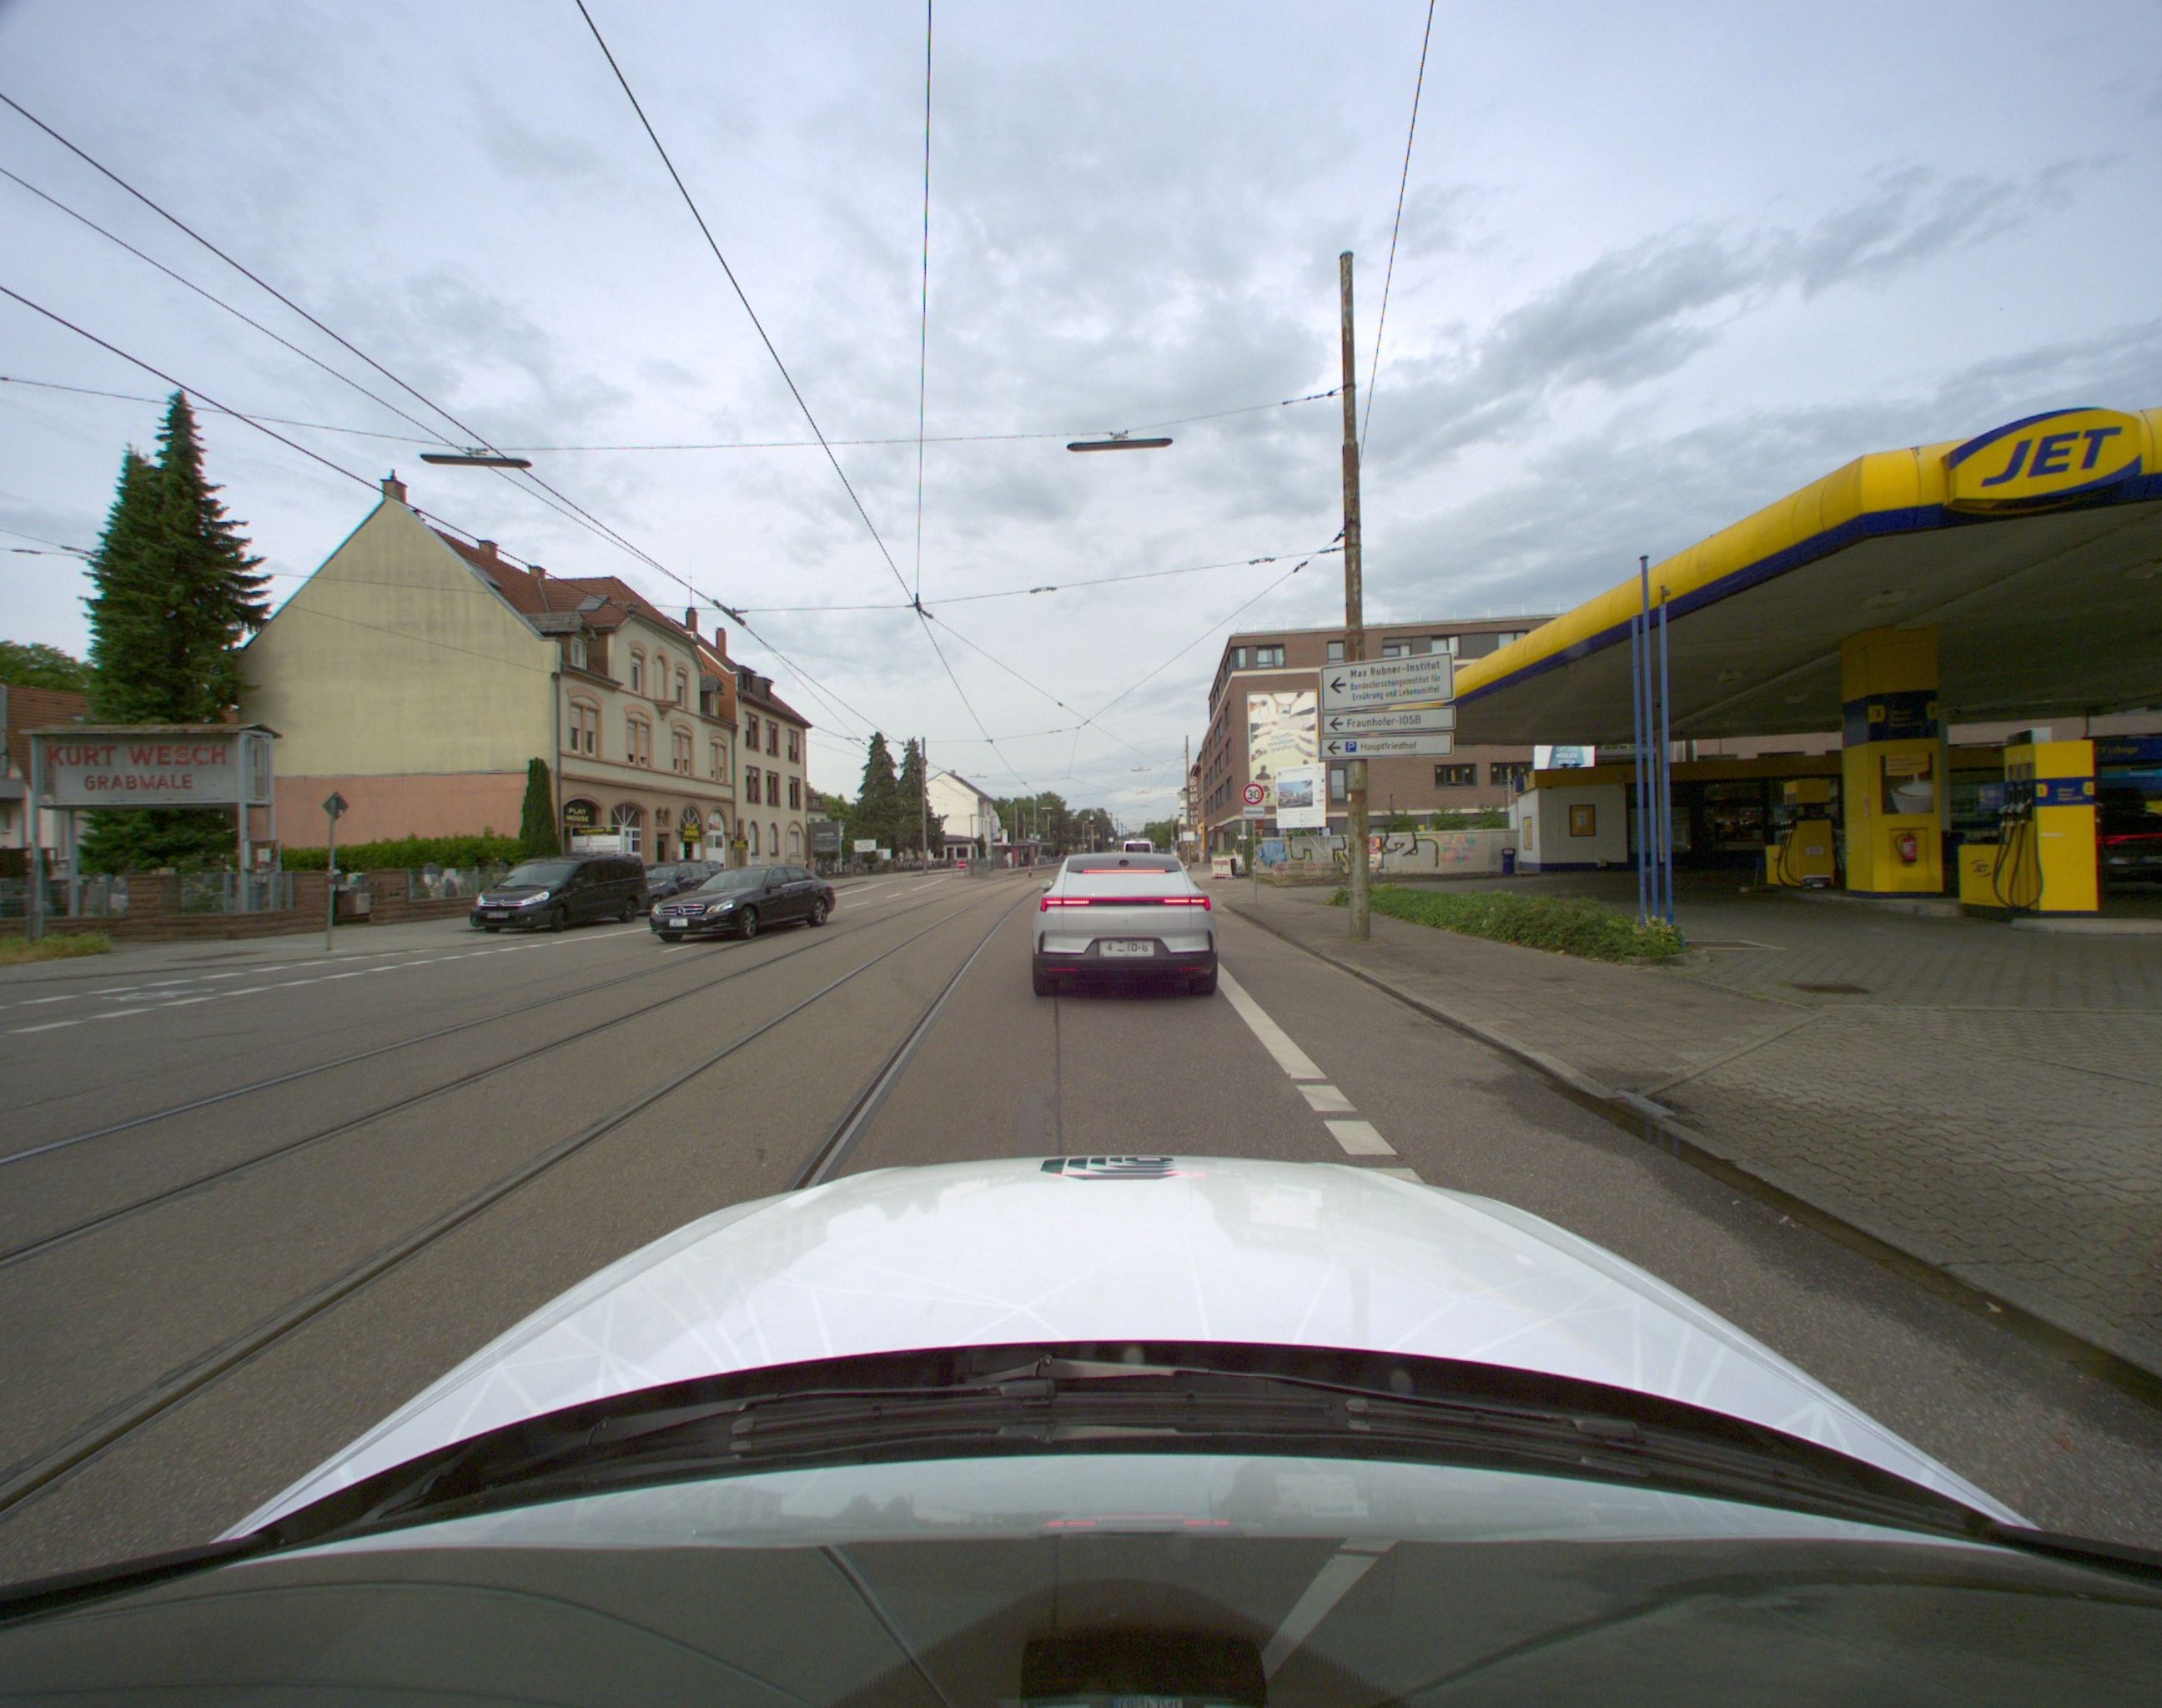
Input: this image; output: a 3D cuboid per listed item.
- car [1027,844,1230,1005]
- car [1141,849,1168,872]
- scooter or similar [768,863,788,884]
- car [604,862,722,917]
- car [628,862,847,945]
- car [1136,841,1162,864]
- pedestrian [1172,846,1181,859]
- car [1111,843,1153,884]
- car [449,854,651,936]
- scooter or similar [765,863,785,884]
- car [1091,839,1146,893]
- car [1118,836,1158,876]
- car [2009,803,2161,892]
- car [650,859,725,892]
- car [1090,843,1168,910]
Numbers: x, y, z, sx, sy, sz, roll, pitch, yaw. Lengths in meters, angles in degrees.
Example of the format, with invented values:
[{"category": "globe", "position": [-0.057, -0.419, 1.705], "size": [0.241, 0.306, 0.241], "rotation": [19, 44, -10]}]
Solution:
[{"category": "car", "position": [0.386, 0.682, 9.988], "size": [1.977, 1.550, 4.179], "rotation": [0, 0, -2]}, {"category": "car", "position": [6.050, 0.566, 67.524], "size": [1.868, 1.823, 4.096], "rotation": [0, -1, 1]}, {"category": "scooter or similar", "position": [-17.659, 1.134, 47.526], "size": [1.056, 1.188, 0.315], "rotation": [1, -1, -35]}, {"category": "car", "position": [-13.916, 1.123, 27.410], "size": [1.839, 1.718, 4.191], "rotation": [0, -1, -1]}, {"category": "car", "position": [-7.058, 0.942, 17.448], "size": [1.935, 1.427, 4.899], "rotation": [-2, 0, 10]}, {"category": "car", "position": [6.289, -0.113, 75.803], "size": [2.132, 2.146, 4.744], "rotation": [0, -1, 1]}, {"category": "pedestrian", "position": [14.595, -0.222, 125.020], "size": [1.215, 2.013, 0.934], "rotation": [-2, 0, 1]}, {"category": "car", "position": [2.517, 0.480, 41.209], "size": [1.986, 2.014, 4.001], "rotation": [0, -1, 1]}, {"category": "car", "position": [-13.665, 0.981, 21.439], "size": [1.985, 1.887, 4.998], "rotation": [0, -1, 0]}, {"category": "scooter or similar", "position": [-18.000, 1.140, 47.911], "size": [1.056, 1.188, 0.315], "rotation": [1, -1, -35]}, {"category": "car", "position": [1.418, 0.469, 32.267], "size": [1.987, 2.014, 3.999], "rotation": [0, -1, 0]}, {"category": "car", "position": [3.607, 0.166, 52.078], "size": [2.209, 2.423, 4.950], "rotation": [0, -1, 0]}, {"category": "car", "position": [19.889, -0.181, 15.620], "size": [1.971, 1.497, 4.354], "rotation": [-3, 1, 39]}, {"category": "car", "position": [-18.479, 0.997, 38.449], "size": [1.748, 1.500, 3.745], "rotation": [0, -1, -1]}, {"category": "car", "position": [1.282, 0.616, 23.361], "size": [1.963, 1.756, 3.836], "rotation": [0, -1, -1]}]
